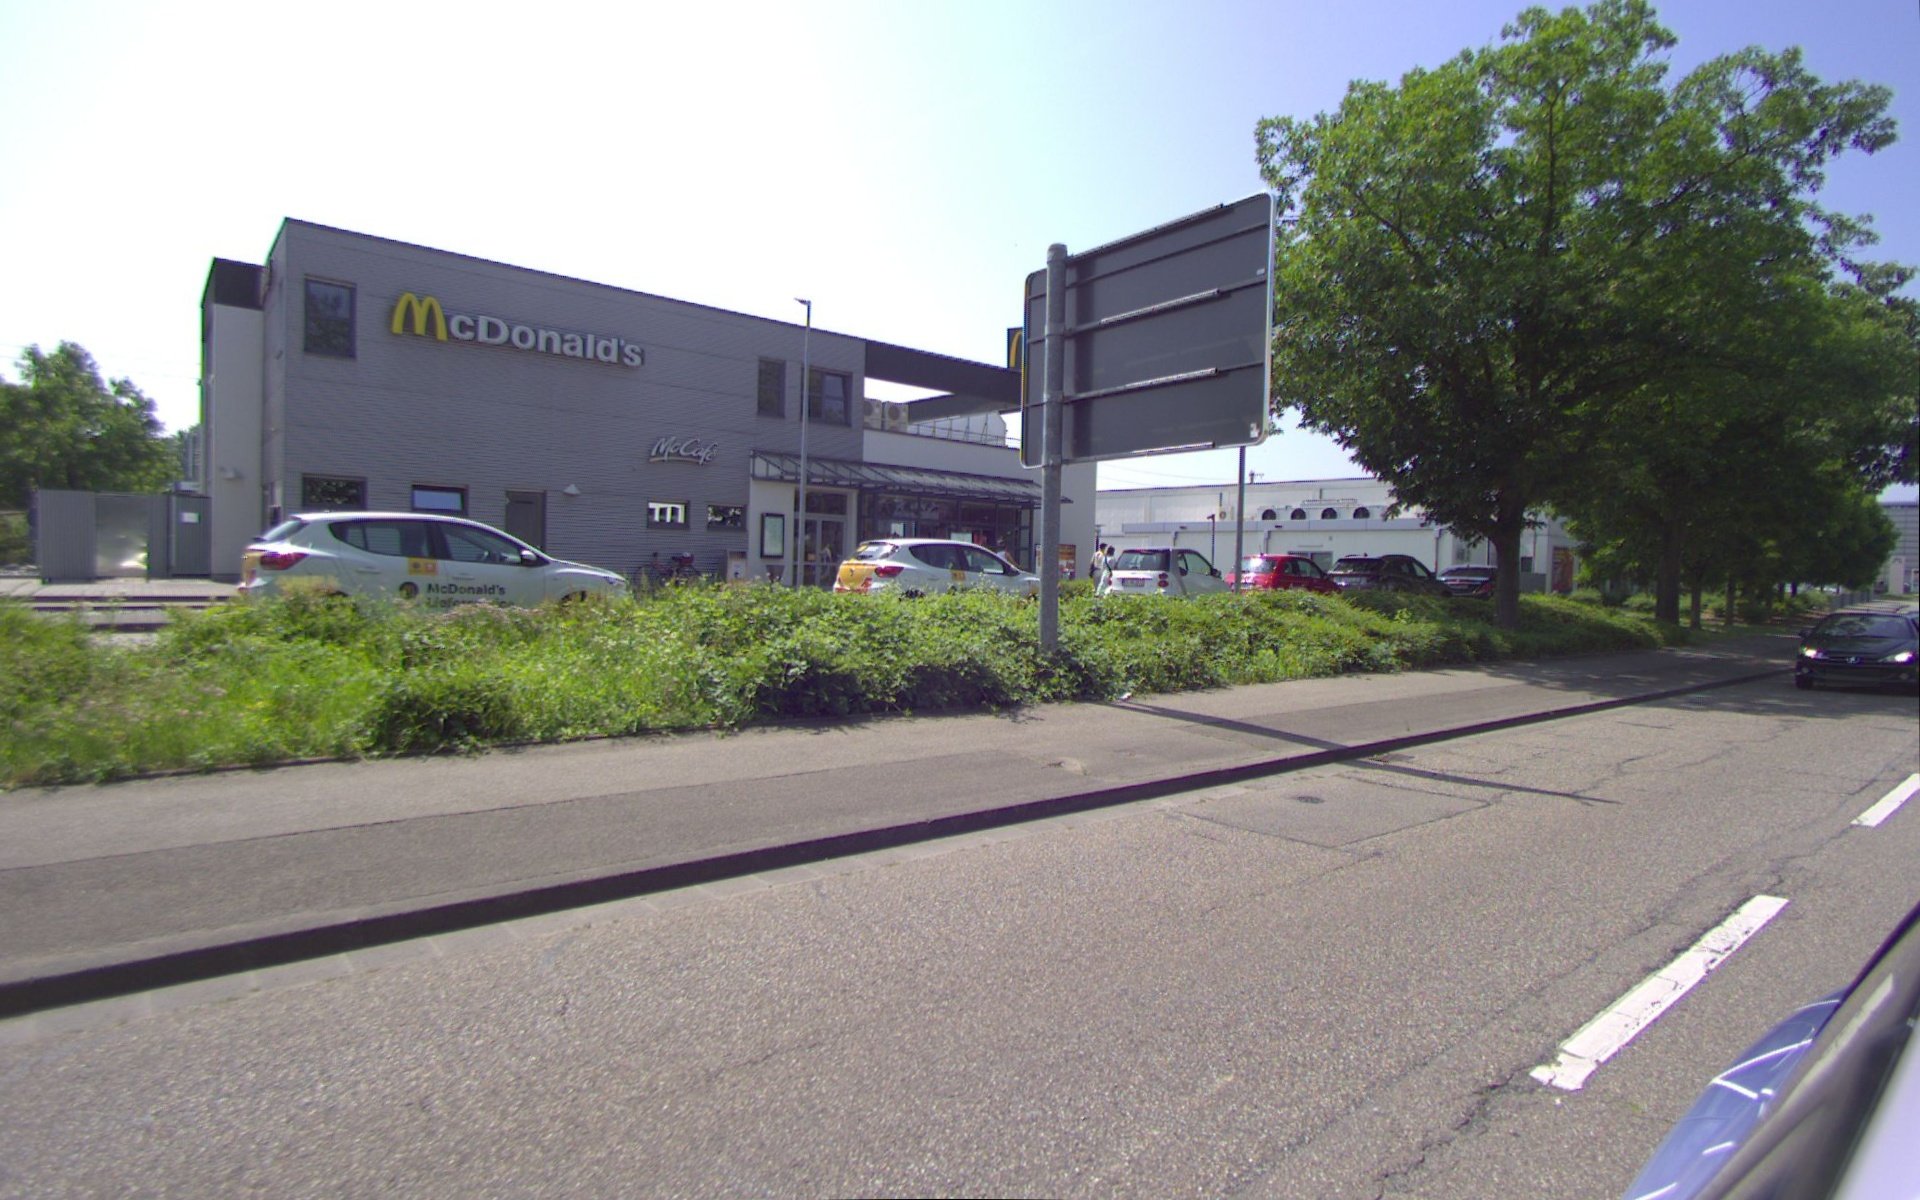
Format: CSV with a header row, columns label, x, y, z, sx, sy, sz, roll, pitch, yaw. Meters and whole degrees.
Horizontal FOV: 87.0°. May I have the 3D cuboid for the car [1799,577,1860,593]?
label,x,y,z,sx,sy,sz,roll,pitch,yaw
car,88.804,-1.524,103.366,1.670,1.523,4.580,0,3,-44

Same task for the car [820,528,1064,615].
label,x,y,z,sx,sy,sz,roll,pitch,yaw
car,-0.243,-0.462,16.672,3.795,1.268,1.624,-1,2,-37

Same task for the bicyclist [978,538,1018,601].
label,x,y,z,sx,sy,sz,roll,pitch,yaw
bicyclist,1.134,-0.917,30.145,0.849,1.826,0.779,0,2,-42

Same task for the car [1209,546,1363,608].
label,x,y,z,sx,sy,sz,roll,pitch,yaw
car,7.313,-0.513,22.569,3.699,1.268,1.622,-1,2,-42

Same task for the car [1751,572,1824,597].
label,x,y,z,sx,sy,sz,roll,pitch,yaw
car,71.057,-1.369,86.898,1.796,1.948,4.622,0,3,-43

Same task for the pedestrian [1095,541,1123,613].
label,x,y,z,sx,sy,sz,roll,pitch,yaw
pedestrian,4.067,-0.625,27.608,0.525,1.945,0.467,1,2,-40

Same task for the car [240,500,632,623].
label,x,y,z,sx,sy,sz,roll,pitch,yaw
car,-5.784,-0.406,11.392,3.672,1.172,1.596,-1,2,-41

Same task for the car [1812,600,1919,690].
label,x,y,z,sx,sy,sz,roll,pitch,yaw
car,16.425,0.732,18.024,1.637,1.373,3.444,2,2,45

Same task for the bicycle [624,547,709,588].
label,x,y,z,sx,sy,sz,roll,pitch,yaw
bicycle,-7.666,-0.845,26.502,2.064,0.992,0.590,0,2,-39

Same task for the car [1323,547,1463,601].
label,x,y,z,sx,sy,sz,roll,pitch,yaw
car,11.135,-0.642,25.916,4.125,1.268,1.622,-1,0,-40

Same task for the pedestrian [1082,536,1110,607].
label,x,y,z,sx,sy,sz,roll,pitch,yaw
pedestrian,3.759,-0.795,27.984,0.401,1.945,0.583,1,2,-40

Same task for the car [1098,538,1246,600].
label,x,y,z,sx,sy,sz,roll,pitch,yaw
car,4.223,-0.605,20.018,2.807,1.136,1.509,-1,2,-42

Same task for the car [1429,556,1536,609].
label,x,y,z,sx,sy,sz,roll,pitch,yaw
car,15.956,-0.557,30.733,1.902,1.469,5.525,1,2,38

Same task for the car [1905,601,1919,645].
label,x,y,z,sx,sy,sz,roll,pitch,yaw
car,32.125,0.753,33.083,1.708,1.340,3.893,3,2,44

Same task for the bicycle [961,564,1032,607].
label,x,y,z,sx,sy,sz,roll,pitch,yaw
bicycle,1.102,-0.422,30.140,2.205,1.240,0.692,0,2,-42
